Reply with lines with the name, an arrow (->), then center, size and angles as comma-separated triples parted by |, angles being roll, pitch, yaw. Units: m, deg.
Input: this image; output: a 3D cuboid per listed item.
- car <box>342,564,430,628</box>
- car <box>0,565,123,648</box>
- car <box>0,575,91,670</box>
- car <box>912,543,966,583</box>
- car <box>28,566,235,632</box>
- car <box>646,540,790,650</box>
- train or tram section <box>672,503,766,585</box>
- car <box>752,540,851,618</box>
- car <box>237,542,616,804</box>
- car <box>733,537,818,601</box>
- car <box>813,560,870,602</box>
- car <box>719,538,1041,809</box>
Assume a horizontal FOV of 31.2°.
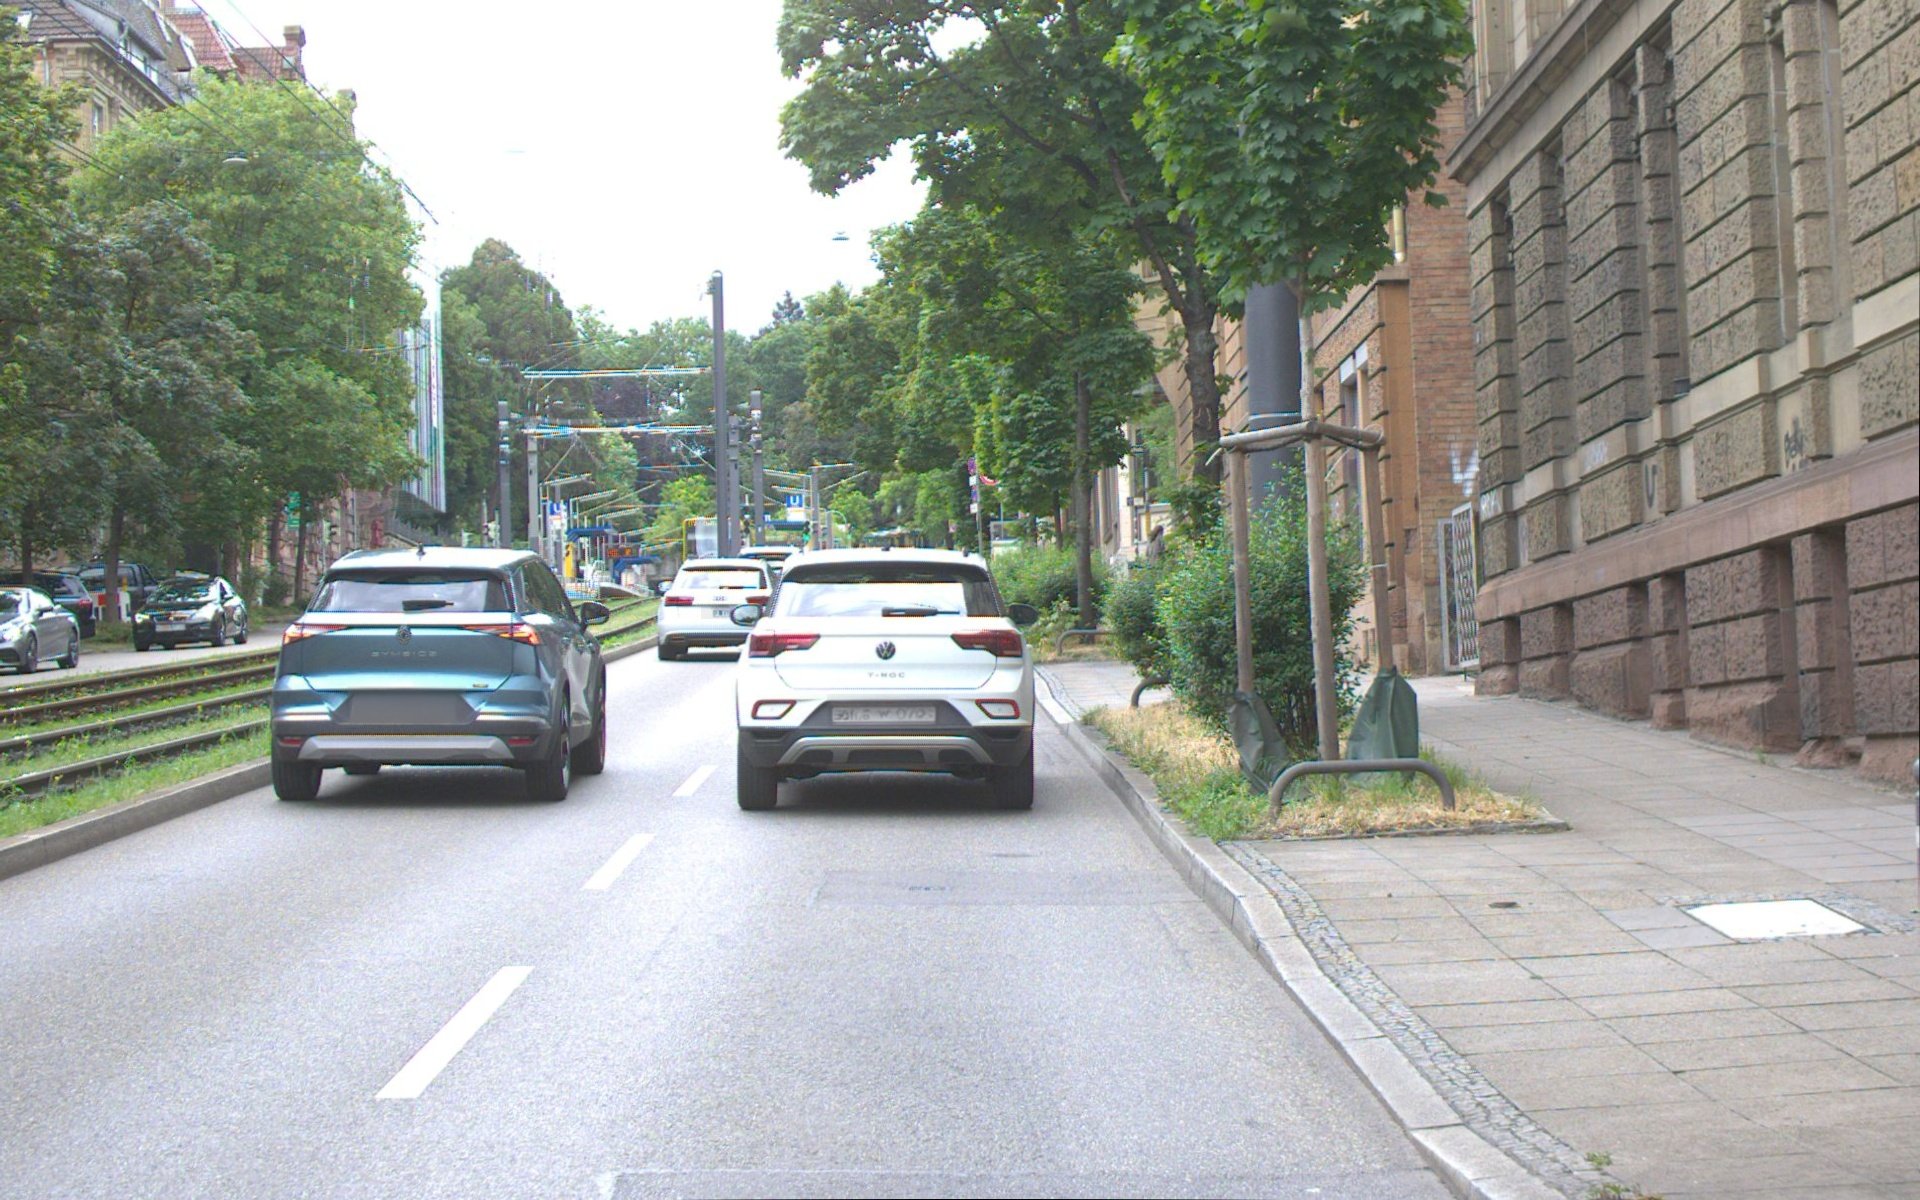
car -> -14.036, -0.108, 84.147 | 1.588, 1.430, 3.413 | -3, 1, -1
car -> -19.707, 0.120, 70.399 | 4.592, 1.676, 1.936 | 0, 1, -33
car -> -15.298, 0.373, 54.715 | 1.724, 1.405, 4.598 | -3, 1, -1
car -> -0.827, -1.449, 134.562 | 2.068, 1.541, 4.193 | 0, 1, 0
car -> -20.548, -0.045, 85.321 | 4.593, 1.612, 1.936 | 0, 1, -34
car -> -3.488, -0.087, 50.258 | 1.835, 1.541, 4.193 | 0, 1, 0
train or tram section -> -10.416, -2.417, 149.949 | 2.996, 3.337, 13.439 | -1, 1, 0
car -> -3.184, -0.440, 69.785 | 1.835, 1.541, 4.193 | 0, 1, 0
car -> -3.353, 0.410, 22.368 | 1.835, 1.541, 4.193 | 0, 1, 0
car -> -4.612, -0.779, 85.833 | 2.068, 1.541, 4.194 | 0, 1, -3
car -> -4.397, -0.724, 127.939 | 2.068, 1.541, 4.194 | 0, 1, -2
car -> -0.516, 0.398, 21.711 | 1.835, 1.541, 4.194 | 0, 1, -2
